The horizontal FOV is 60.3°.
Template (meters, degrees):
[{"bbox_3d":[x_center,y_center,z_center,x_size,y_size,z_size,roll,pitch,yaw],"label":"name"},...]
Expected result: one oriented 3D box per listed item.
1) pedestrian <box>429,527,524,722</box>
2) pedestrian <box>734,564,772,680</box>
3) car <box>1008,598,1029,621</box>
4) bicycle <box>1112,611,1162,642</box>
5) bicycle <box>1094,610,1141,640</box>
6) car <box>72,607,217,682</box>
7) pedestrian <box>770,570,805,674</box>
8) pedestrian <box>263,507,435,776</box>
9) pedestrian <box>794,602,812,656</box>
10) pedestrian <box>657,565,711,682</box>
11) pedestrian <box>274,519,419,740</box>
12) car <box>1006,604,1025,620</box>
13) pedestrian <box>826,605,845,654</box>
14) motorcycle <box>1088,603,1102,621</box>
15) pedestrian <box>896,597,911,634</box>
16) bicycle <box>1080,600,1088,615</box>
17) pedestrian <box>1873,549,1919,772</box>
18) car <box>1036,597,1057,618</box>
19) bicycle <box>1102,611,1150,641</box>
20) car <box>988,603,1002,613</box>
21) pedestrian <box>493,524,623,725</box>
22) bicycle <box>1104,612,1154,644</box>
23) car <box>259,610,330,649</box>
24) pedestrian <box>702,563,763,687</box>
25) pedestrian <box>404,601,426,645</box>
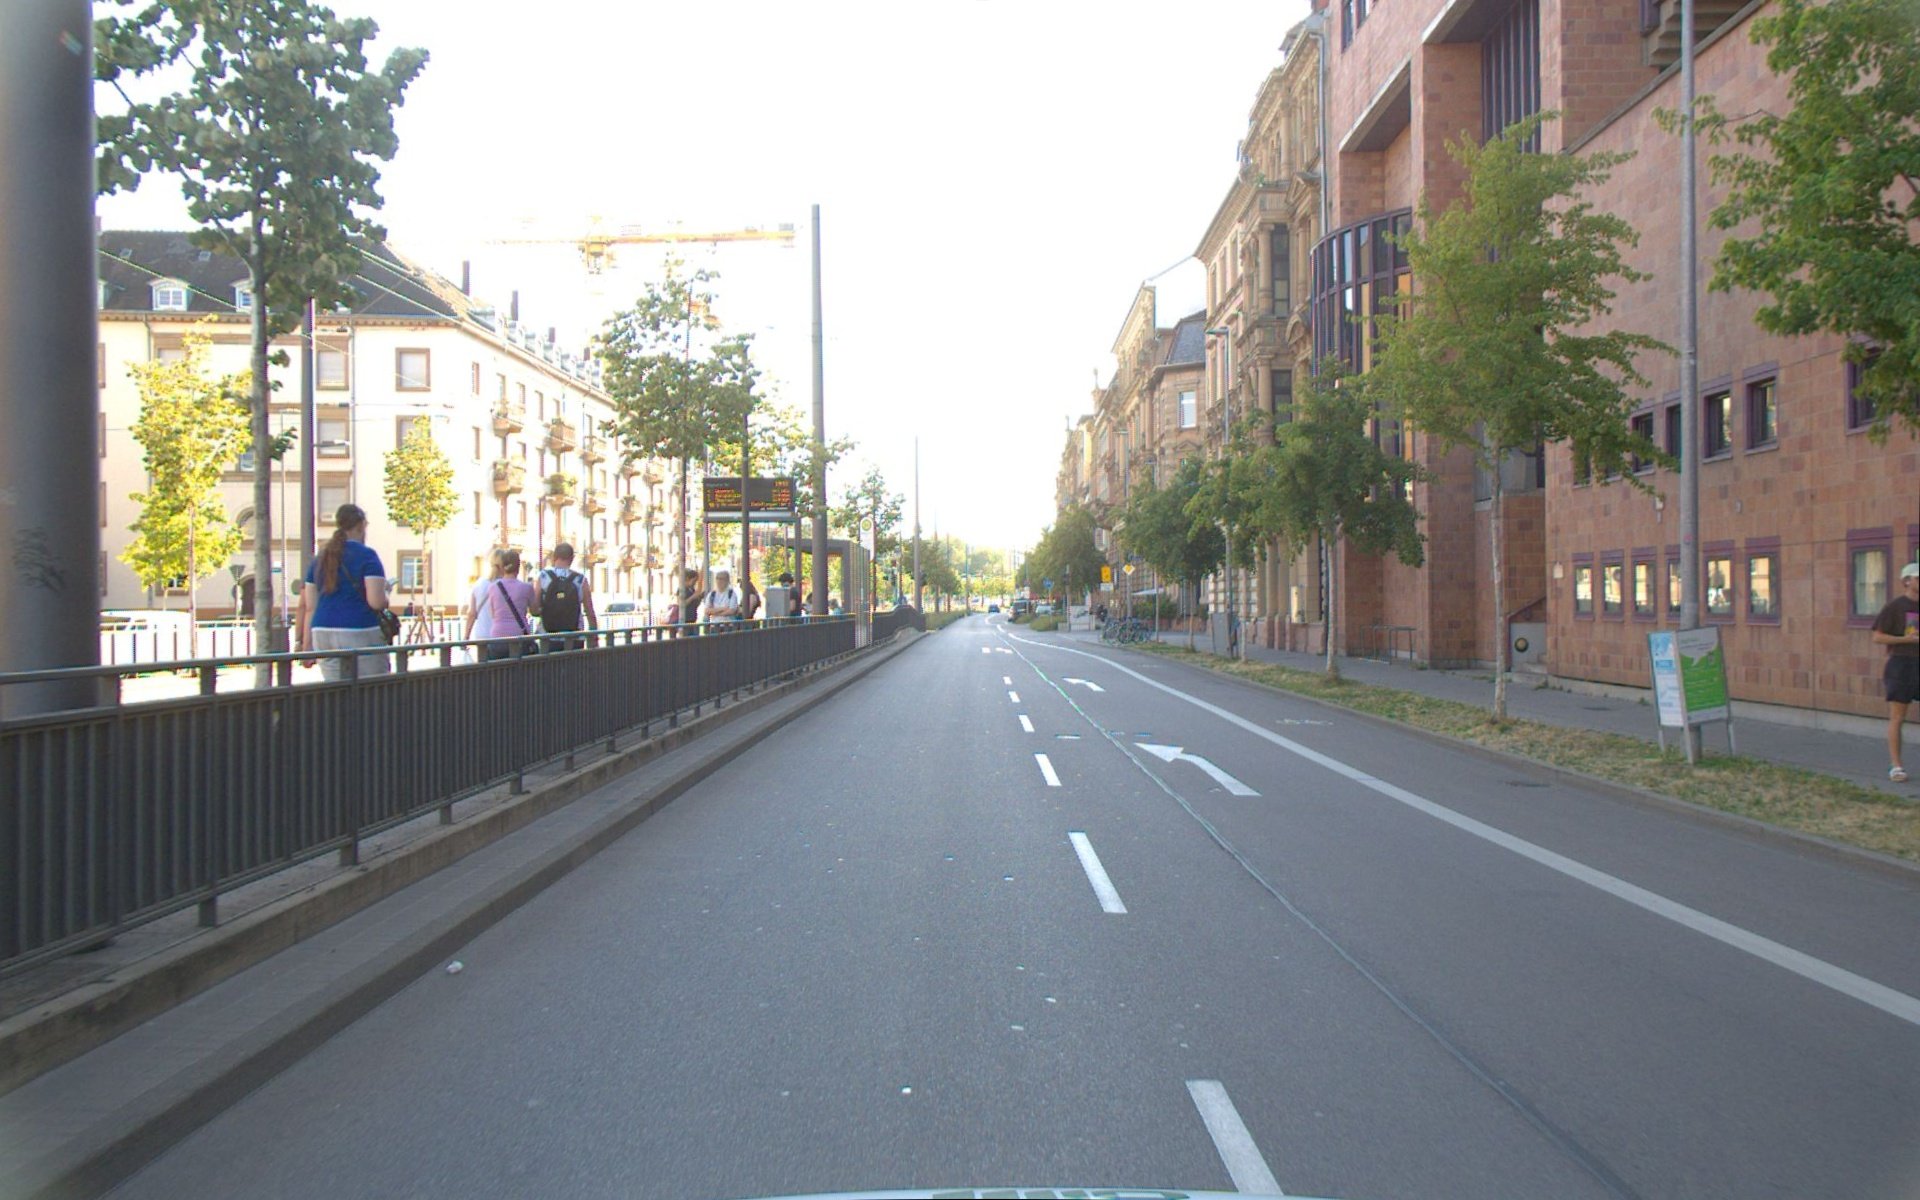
[{"bbox_3d":[-4.327,0.215,14.826,0.643,1.701,0.672,-1,0,-1],"label":"pedestrian"},{"bbox_3d":[-3.202,0.334,25.603,0.494,1.762,0.651,-1,0,0],"label":"pedestrian"},{"bbox_3d":[5.279,0.855,150.003,1.846,1.971,4.475,-1,1,2],"label":"car"},{"bbox_3d":[6.921,1.041,64.634,1.790,1.083,0.663,-4,1,-5],"label":"bicycle"},{"bbox_3d":[6.417,1.011,67.497,1.790,1.083,0.663,-4,1,-5],"label":"bicycle"},{"bbox_3d":[-24.425,1.298,49.733,1.951,2.049,4.150,-1,1,6],"label":"car"},{"bbox_3d":[-2.887,0.369,27.667,0.494,1.708,0.651,-1,0,0],"label":"pedestrian"},{"bbox_3d":[-3.997,0.263,10.866,0.870,1.701,0.672,-1,0,-1],"label":"pedestrian"},{"bbox_3d":[-4.128,0.769,43.522,0.420,1.410,0.406,0,0,-11],"label":"pedestrian"},{"bbox_3d":[-4.219,0.355,25.318,0.705,1.762,0.651,-1,0,0],"label":"pedestrian"},{"bbox_3d":[-4.337,0.201,11.737,0.668,1.509,0.829,0,0,5],"label":"pedestrian"},{"bbox_3d":[5.498,1.180,163.275,1.811,1.483,4.158,-1,1,2],"label":"car"},{"bbox_3d":[-3.063,0.727,40.723,0.399,1.211,0.428,0,0,-12],"label":"pedestrian"},{"bbox_3d":[10.477,0.929,128.272,0.778,1.331,2.852,-3,1,0],"label":"motorcycle"},{"bbox_3d":[-2.544,0.698,74.124,0.641,1.672,0.867,0,-1,1],"label":"pedestrian"},{"bbox_3d":[11.743,0.702,156.633,0.647,1.427,2.352,-1,1,0],"label":"bicycle"},{"bbox_3d":[7.810,0.487,13.473,0.525,1.787,0.422,-1,-1,12],"label":"pedestrian"},{"bbox_3d":[6.994,0.587,133.142,1.603,1.512,4.213,-3,1,3],"label":"car"},{"bbox_3d":[6.616,1.028,66.022,1.790,1.083,0.663,-4,1,-5],"label":"bicycle"},{"bbox_3d":[5.433,1.211,255.271,1.759,1.490,4.003,-1,0,8],"label":"car"},{"bbox_3d":[-3.531,0.208,14.620,0.870,1.701,1.095,-1,0,-1],"label":"pedestrian"},{"bbox_3d":[6.457,1.067,63.266,1.790,1.083,0.663,-4,1,-5],"label":"bicycle"},{"bbox_3d":[-30.117,1.331,74.917,1.801,1.612,4.127,-1,1,-5],"label":"car"},{"bbox_3d":[-2.992,0.324,21.852,0.659,1.589,0.906,-1,0,0],"label":"pedestrian"},{"bbox_3d":[-25.876,1.077,78.544,0.784,2.049,0.625,-1,0,1],"label":"pedestrian"}]
